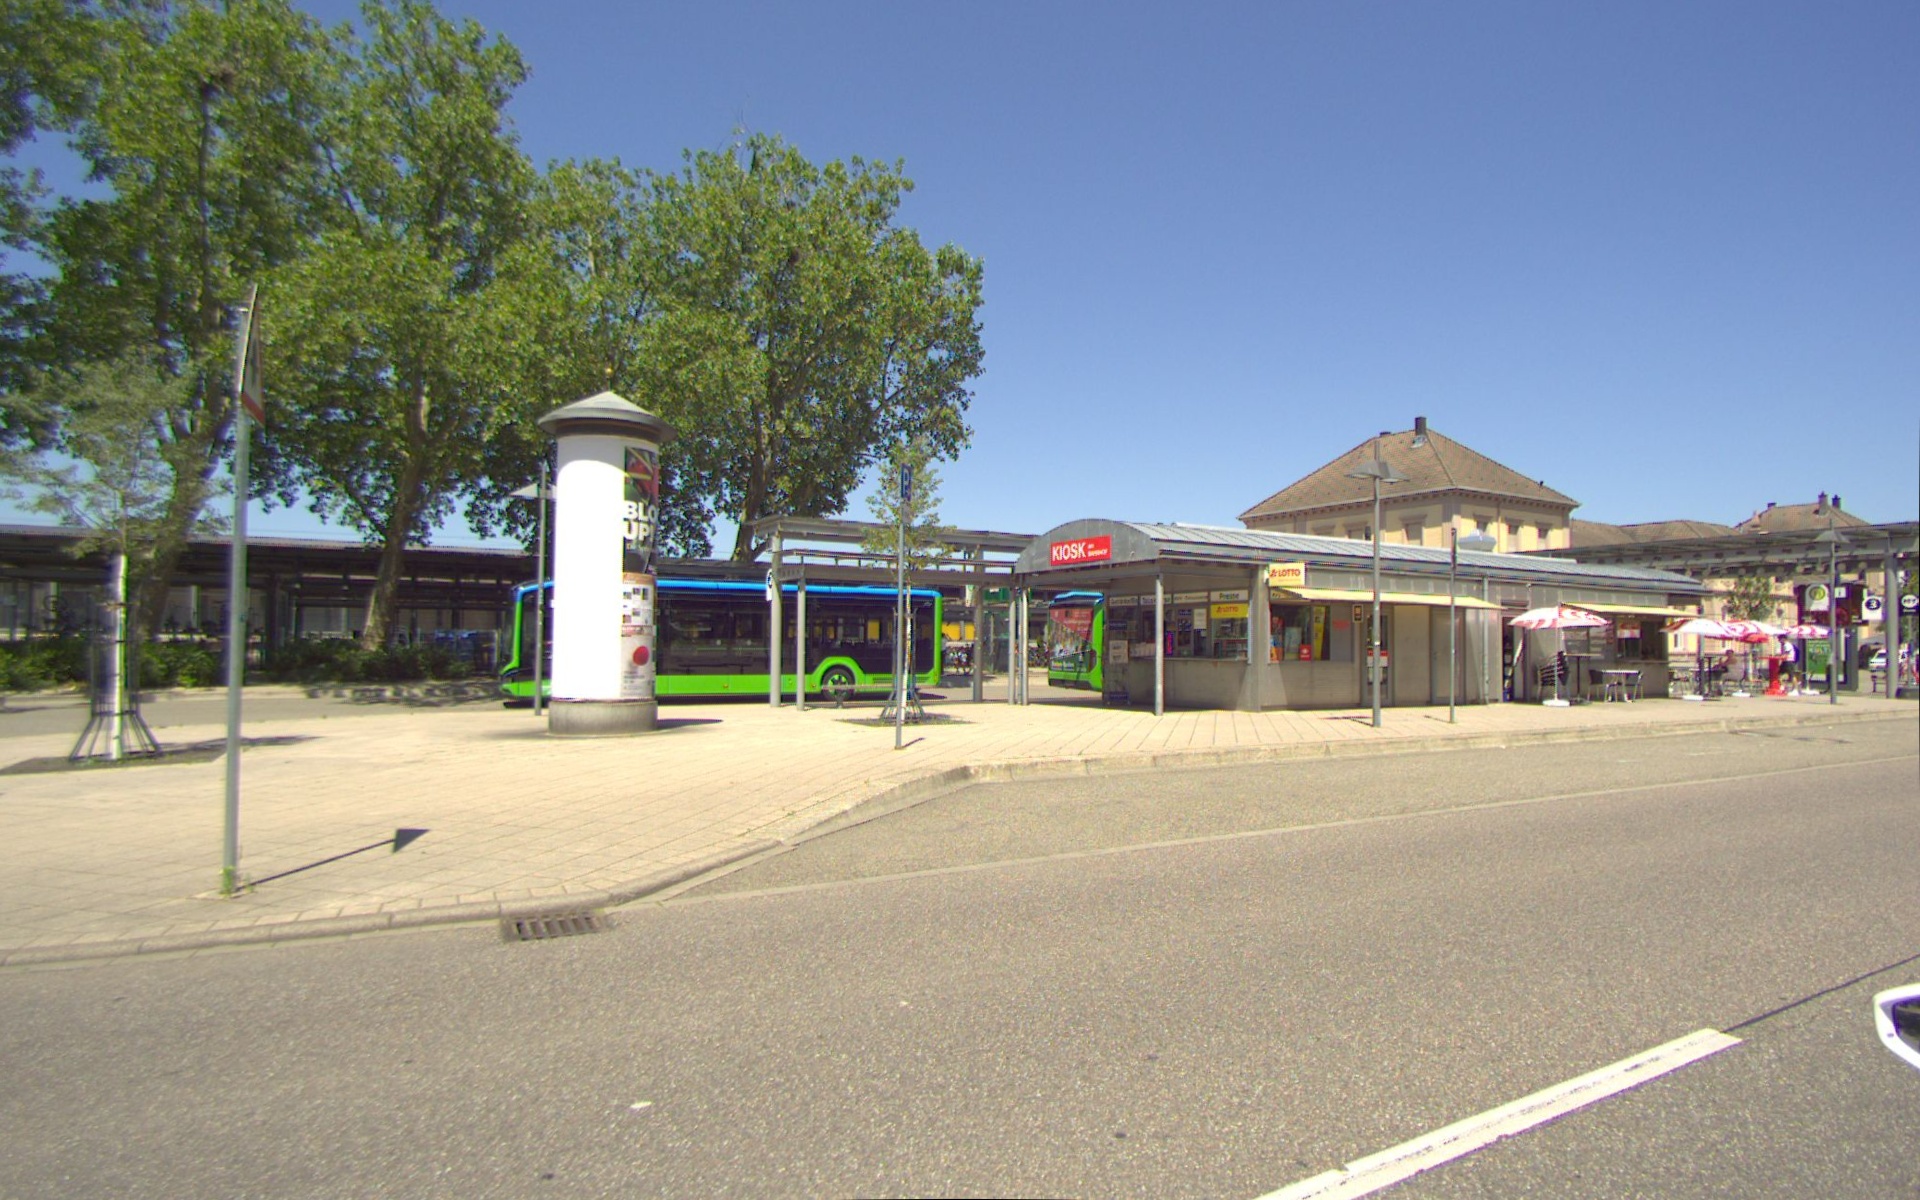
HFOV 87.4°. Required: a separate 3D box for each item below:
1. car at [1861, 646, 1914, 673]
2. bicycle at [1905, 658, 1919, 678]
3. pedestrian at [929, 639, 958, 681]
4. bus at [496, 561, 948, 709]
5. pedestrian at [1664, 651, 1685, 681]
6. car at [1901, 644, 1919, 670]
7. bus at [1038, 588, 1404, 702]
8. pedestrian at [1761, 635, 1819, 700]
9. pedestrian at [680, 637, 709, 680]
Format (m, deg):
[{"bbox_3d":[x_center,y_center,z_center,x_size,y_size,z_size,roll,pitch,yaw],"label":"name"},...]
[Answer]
[{"bbox_3d":[72.144,4.600,78.112,4.720,1.942,1.743,0,-2,-31],"label":"car"},{"bbox_3d":[51.028,3.606,52.901,1.770,1.044,0.487,-1,-3,37],"label":"bicycle"},{"bbox_3d":[-0.652,2.380,39.711,0.810,1.638,0.765,-1,-3,41],"label":"pedestrian"},{"bbox_3d":[-6.179,1.037,27.922,12.070,3.572,2.154,2,-2,-28],"label":"bus"},{"bbox_3d":[23.998,2.213,33.745,0.366,0.985,0.424,3,-3,-17],"label":"pedestrian"},{"bbox_3d":[78.285,4.613,81.447,3.956,2.040,1.983,2,-3,-32],"label":"car"},{"bbox_3d":[8.797,1.526,32.064,13.739,3.080,2.661,2,-3,-32],"label":"bus"},{"bbox_3d":[24.568,1.988,29.743,1.123,1.851,0.800,3,-3,-13],"label":"pedestrian"},{"bbox_3d":[-9.259,2.027,35.004,0.813,1.483,0.602,2,-3,-33],"label":"pedestrian"}]
